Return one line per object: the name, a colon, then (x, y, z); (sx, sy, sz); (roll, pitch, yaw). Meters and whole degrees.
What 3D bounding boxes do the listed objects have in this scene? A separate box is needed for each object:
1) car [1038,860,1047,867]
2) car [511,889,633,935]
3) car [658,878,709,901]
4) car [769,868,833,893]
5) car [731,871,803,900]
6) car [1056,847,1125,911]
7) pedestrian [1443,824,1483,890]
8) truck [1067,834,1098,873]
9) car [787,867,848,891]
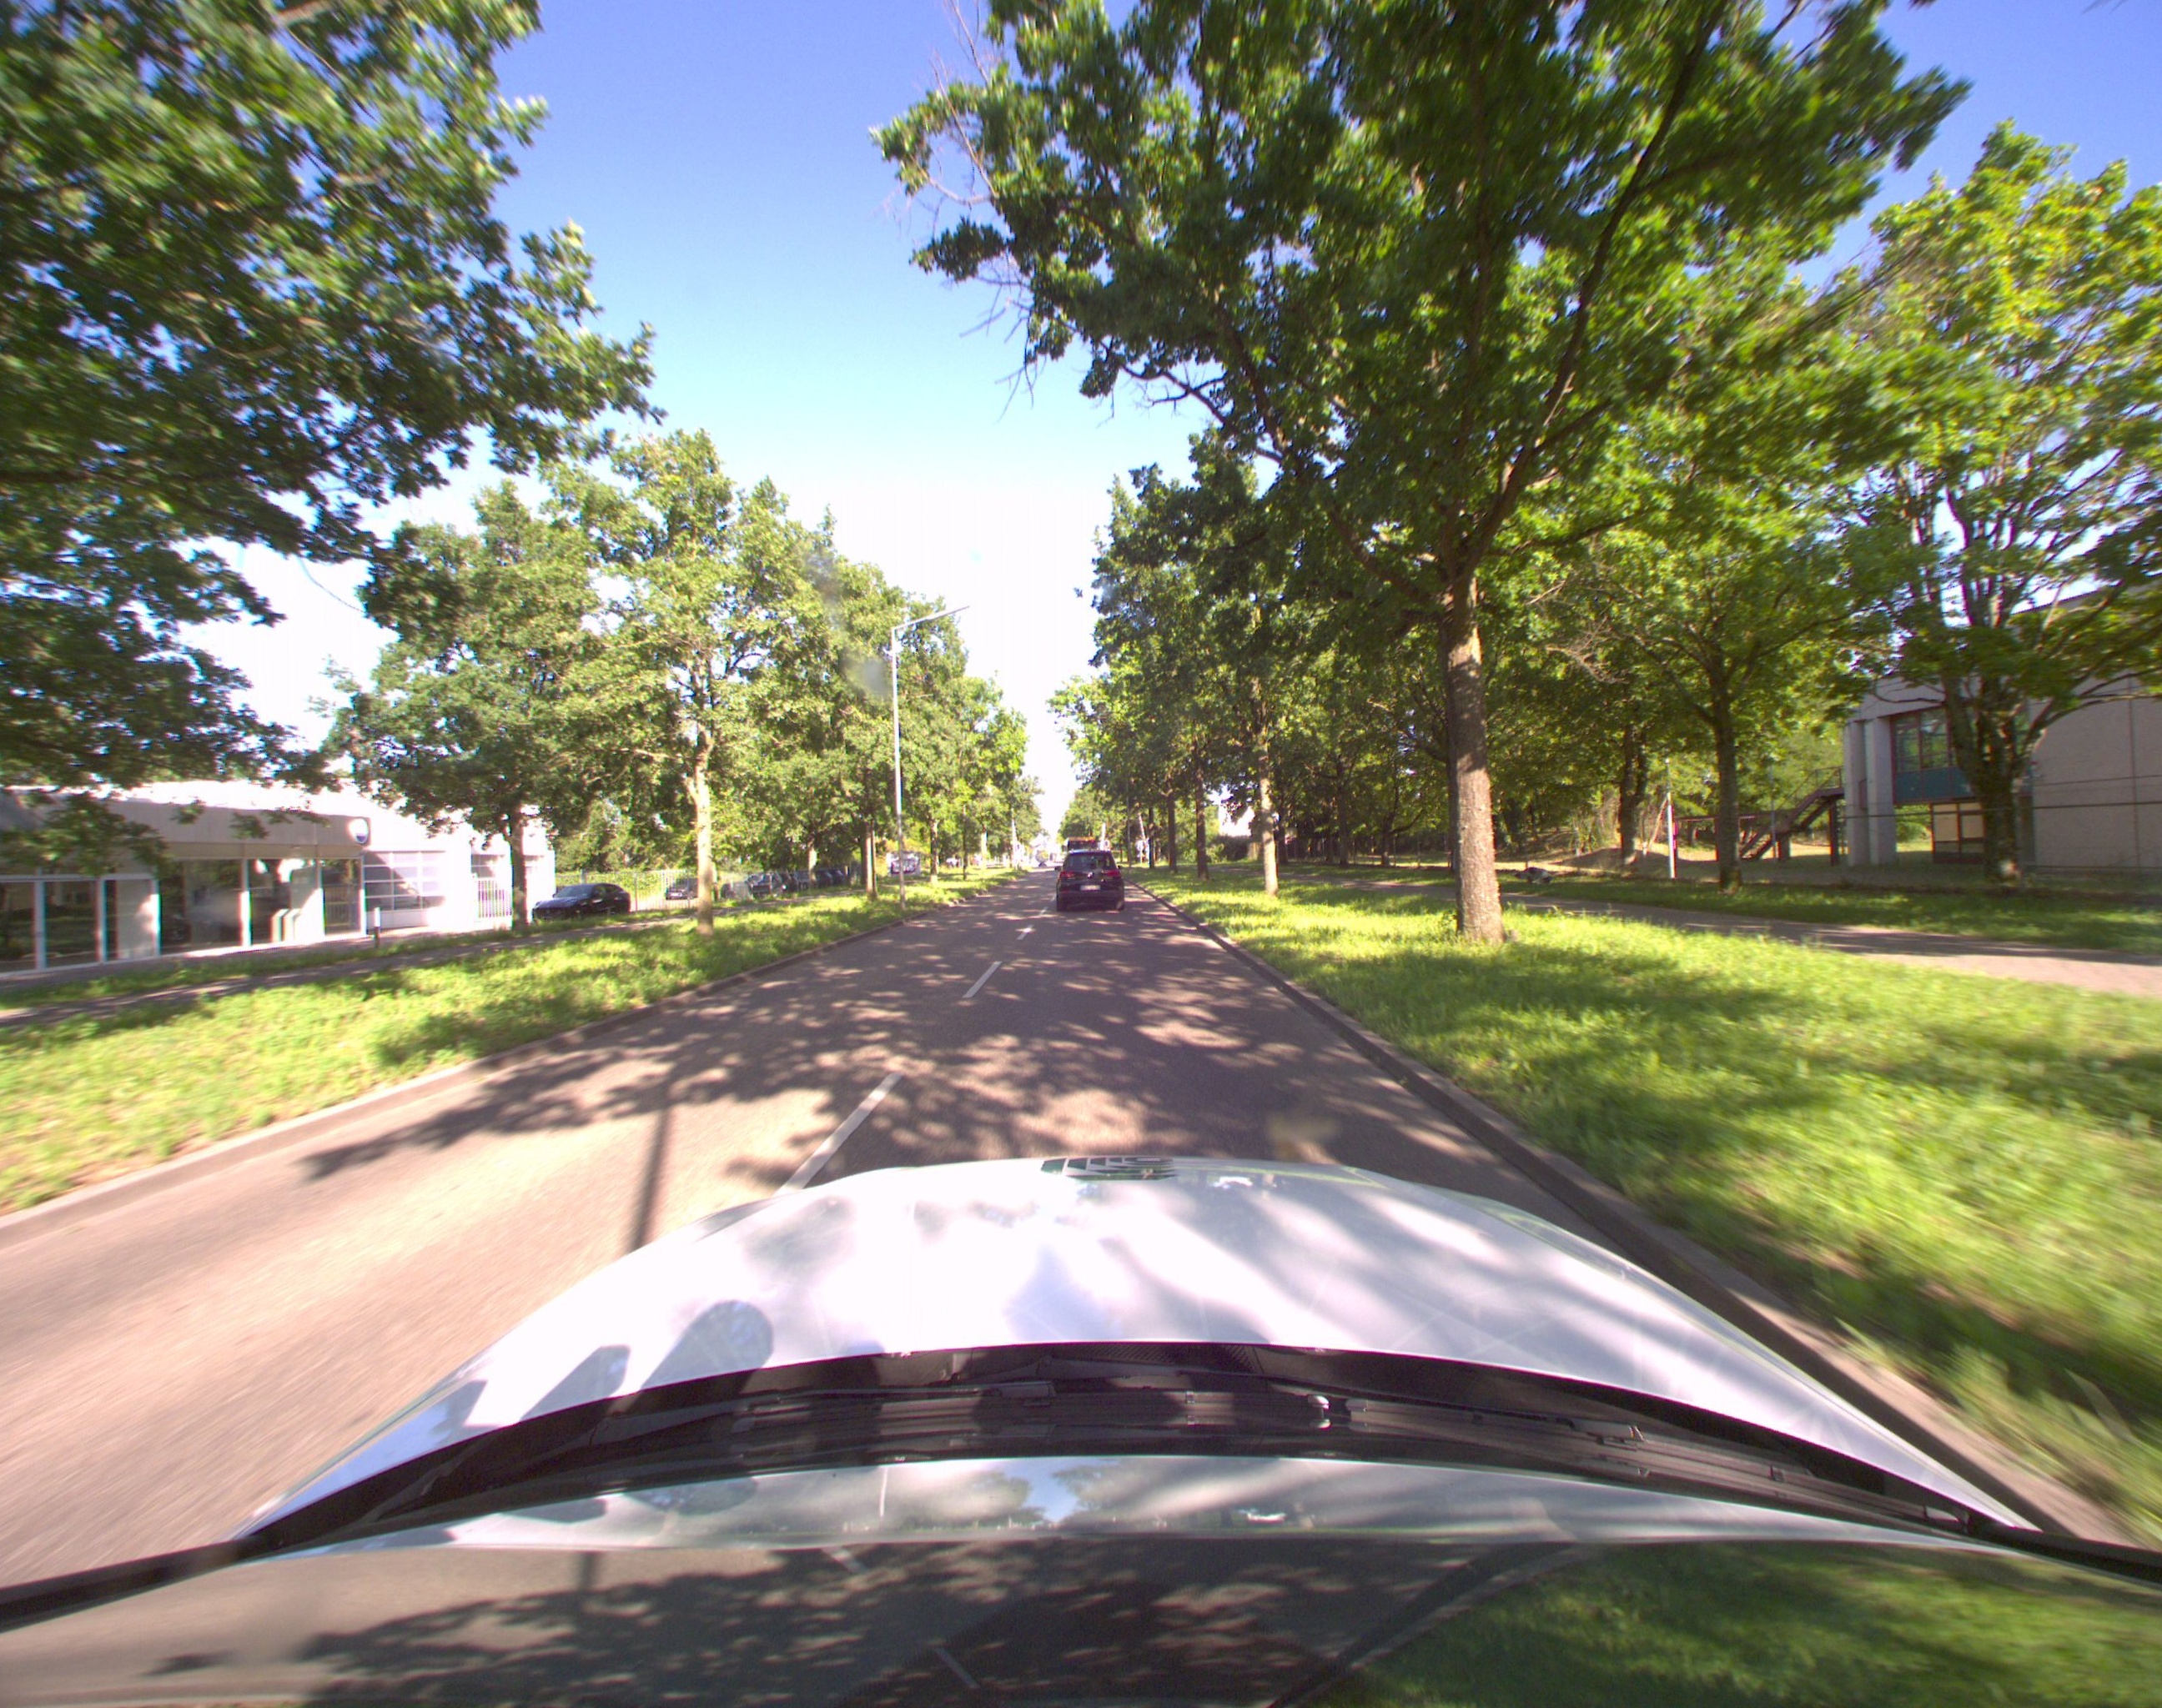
car: (-7.852, 1.891, 165.150); (1.559, 1.504, 4.001); (0, 0, 2)
car: (-21.365, 2.390, 34.479); (1.987, 1.598, 5.014); (0, 0, 0)
car: (-31.273, 2.766, 64.253); (1.991, 1.566, 4.875); (0, 0, -5)
car: (-21.037, 1.988, 61.313); (4.183, 1.801, 1.997); (0, 0, -5)
car: (-20.576, 2.022, 53.543); (3.983, 1.801, 1.995); (0, 0, -7)
car: (0.235, 0.662, 23.166); (1.777, 1.633, 3.999); (0, 0, -1)
pedestrian: (9.788, 0.073, 20.853); (0.710, 1.631, 0.614); (-4, 0, 37)
truck: (0.095, -0.036, 74.228); (2.504, 3.243, 8.149); (-2, 0, -1)
car: (-20.735, 1.981, 64.169); (4.183, 1.801, 1.997); (0, 0, -5)
